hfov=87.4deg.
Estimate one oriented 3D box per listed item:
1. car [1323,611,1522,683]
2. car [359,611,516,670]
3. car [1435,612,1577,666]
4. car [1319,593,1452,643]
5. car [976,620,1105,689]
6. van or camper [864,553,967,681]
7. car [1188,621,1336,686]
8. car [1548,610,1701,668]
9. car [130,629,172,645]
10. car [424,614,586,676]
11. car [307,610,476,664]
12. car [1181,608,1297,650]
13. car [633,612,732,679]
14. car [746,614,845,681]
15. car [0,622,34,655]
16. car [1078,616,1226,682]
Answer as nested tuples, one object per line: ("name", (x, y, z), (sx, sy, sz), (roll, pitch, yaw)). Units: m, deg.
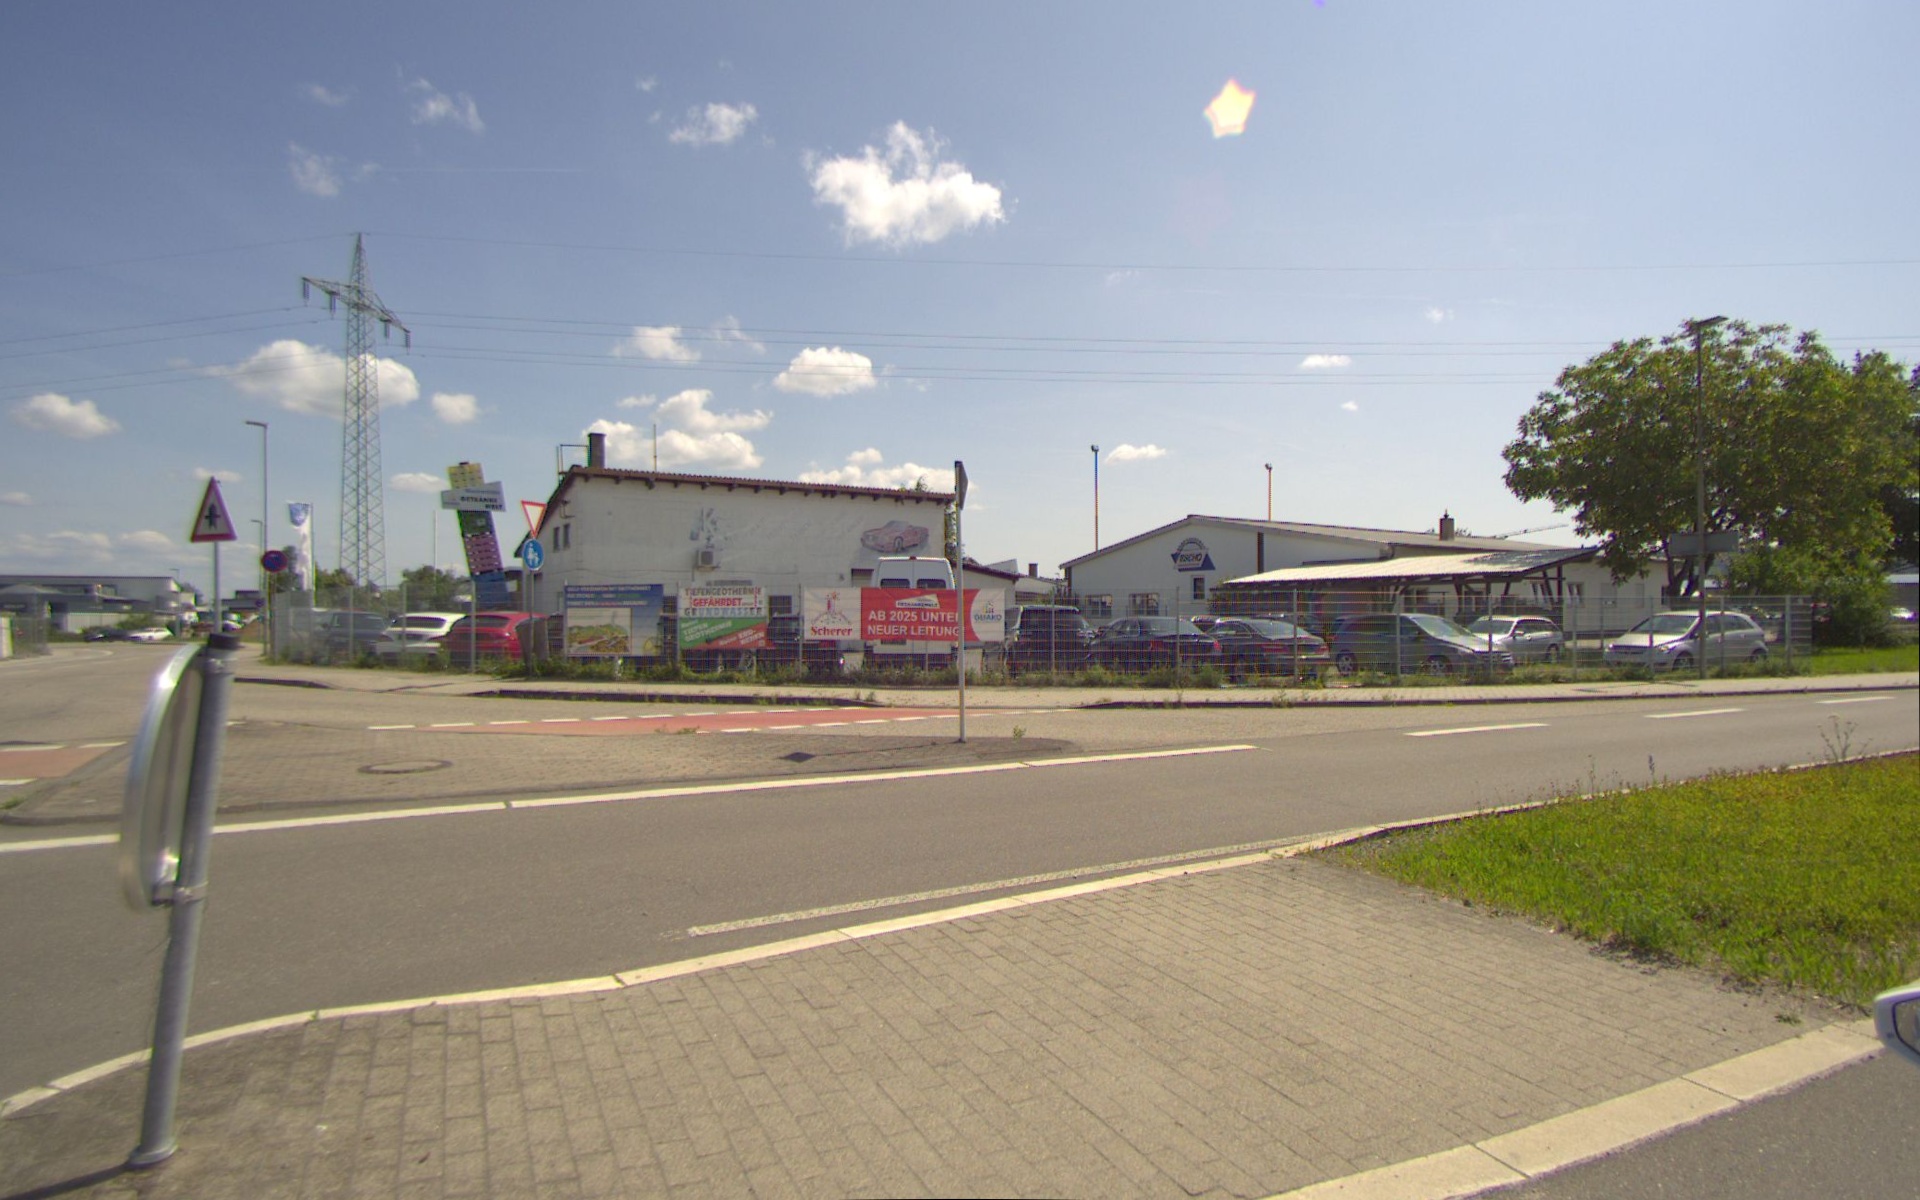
("car", (10.816, 1.059, 23.783), (1.973, 1.539, 3.974), (0, -1, -26))
("car", (-12.797, 0.957, 24.886), (1.863, 1.338, 3.744), (0, -1, 1))
("car", (15.798, 1.086, 29.015), (3.956, 1.461, 1.982), (1, -1, -33))
("car", (13.262, 0.571, 31.275), (3.957, 1.461, 1.982), (1, -1, -33))
("car", (1.642, 1.125, 21.859), (1.803, 1.338, 3.992), (1, -1, -11))
("van or camper", (-1.135, 0.394, 22.789), (2.039, 2.530, 5.585), (0, -1, -5))
("car", (6.806, 1.165, 23.038), (1.662, 1.338, 3.883), (0, -1, -11))
("car", (17.855, 1.017, 26.981), (3.955, 1.461, 1.983), (1, -1, -32))
("car", (-86.980, 4.012, 108.048), (1.801, 1.639, 3.572), (0, -1, -4))
("car", (-10.663, 1.015, 23.897), (1.960, 1.338, 4.001), (0, -1, 1))
("car", (-15.348, 0.972, 27.372), (1.959, 1.338, 4.003), (0, -1, 8))
("car", (10.171, 1.049, 36.618), (3.957, 1.461, 1.982), (1, -1, -33))
("car", (-6.043, 0.953, 22.222), (1.530, 1.338, 3.996), (0, -1, -7))
("car", (-3.553, 1.000, 22.297), (1.963, 1.338, 3.996), (0, -1, -7))
("car", (-51.189, 2.008, 52.536), (3.969, 1.751, 1.976), (1, -1, -41))
("car", (4.216, 1.048, 22.712), (1.964, 1.338, 3.992), (0, -1, -11))
